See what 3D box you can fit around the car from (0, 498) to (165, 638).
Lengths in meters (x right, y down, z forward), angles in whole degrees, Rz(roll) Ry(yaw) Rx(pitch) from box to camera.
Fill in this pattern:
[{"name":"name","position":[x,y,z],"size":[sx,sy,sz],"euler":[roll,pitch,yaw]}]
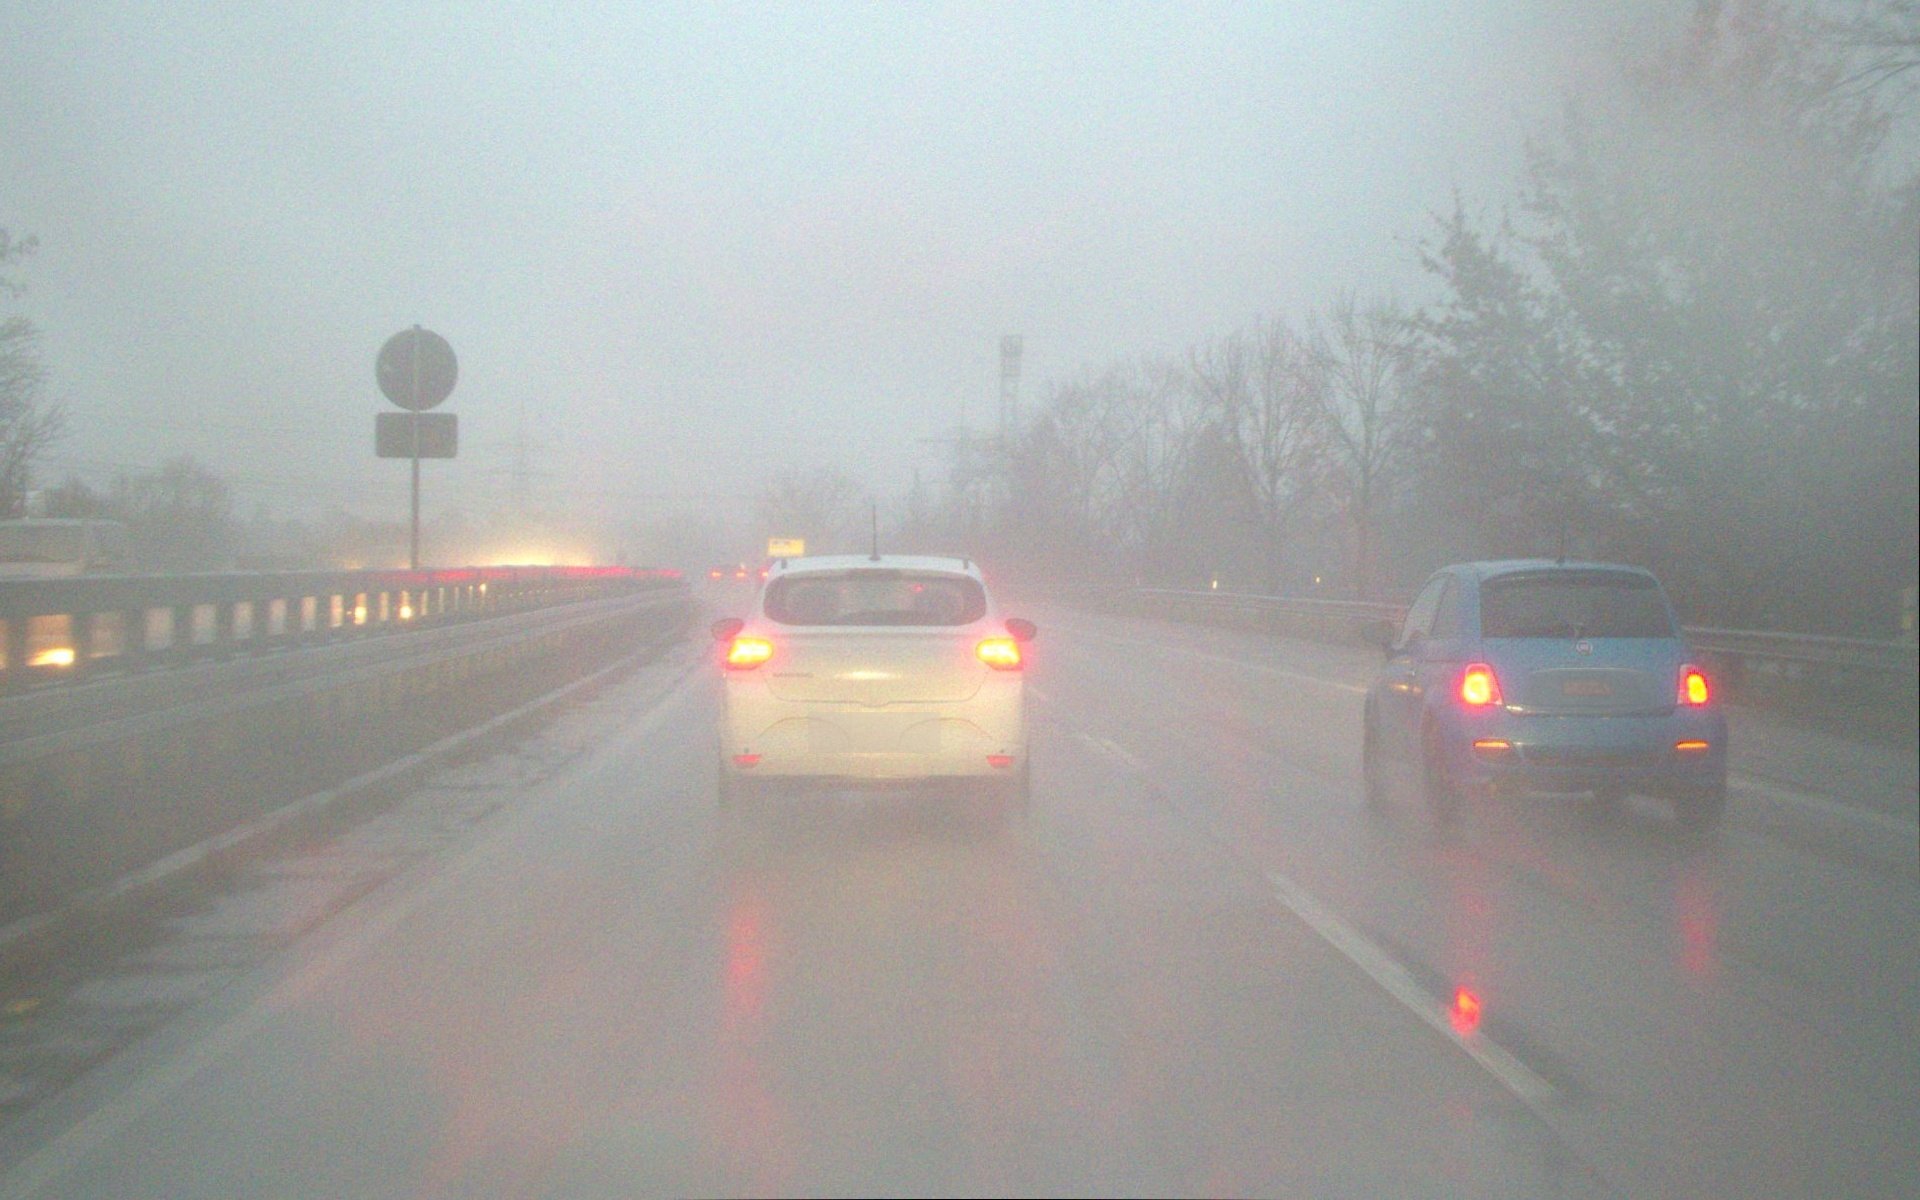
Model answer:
[{"name":"car","position":[-13.247,-0.454,51.323],"size":[1.934,1.966,4.537],"euler":[1,0,-4]}]

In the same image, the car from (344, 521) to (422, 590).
[{"name":"car","position":[-15.961,-1.228,95.269],"size":[1.745,1.827,4.136],"euler":[1,0,-5]}]

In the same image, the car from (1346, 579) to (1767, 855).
[{"name":"car","position":[3.502,0.629,20.922],"size":[1.845,1.448,4.149],"euler":[1,1,0]}]

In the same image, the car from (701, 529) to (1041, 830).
[{"name":"car","position":[-0.478,0.406,20.742],"size":[1.845,1.630,3.768],"euler":[1,1,0]}]

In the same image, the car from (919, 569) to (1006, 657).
[{"name":"car","position":[0.040,0.323,84.167],"size":[1.873,1.897,4.000],"euler":[6,-1,-1]}]
